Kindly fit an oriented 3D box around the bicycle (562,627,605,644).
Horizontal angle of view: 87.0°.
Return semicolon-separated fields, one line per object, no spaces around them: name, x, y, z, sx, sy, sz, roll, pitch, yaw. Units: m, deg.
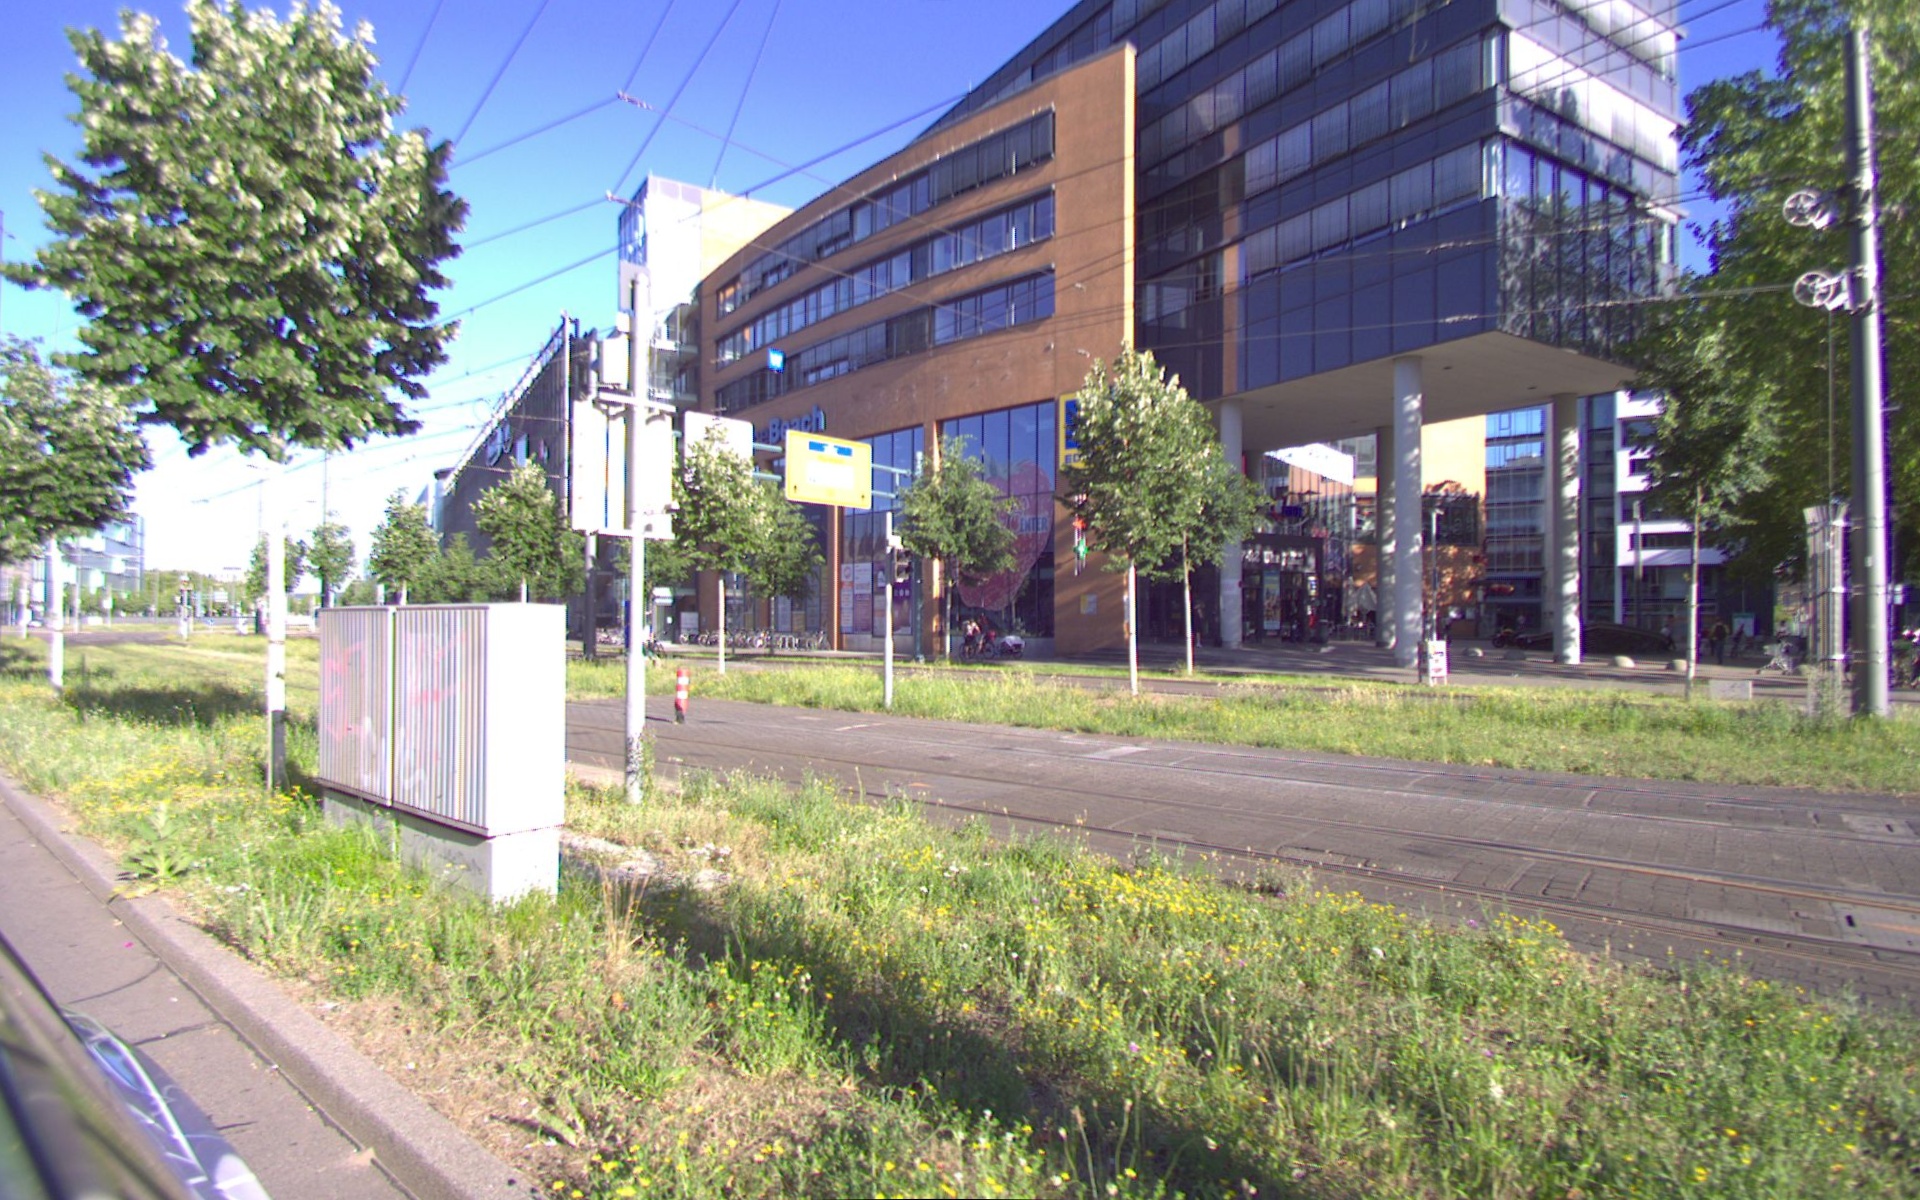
bicycle;-25.590;2.409;68.816;2.648;1.112;0.897;1;-2;-38

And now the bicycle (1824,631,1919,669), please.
bicycle;34.446;1.838;37.631;3.343;1.363;1.026;-1;-2;26

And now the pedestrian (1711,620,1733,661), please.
pedestrian;31.327;1.669;41.596;0.698;1.665;0.697;-1;-1;39

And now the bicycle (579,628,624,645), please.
bicycle;-23.341;2.382;65.928;2.648;1.112;0.897;1;-2;-38

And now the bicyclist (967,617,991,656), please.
bicyclist;0.763;1.448;40.725;0.702;1.541;0.682;-1;-2;40

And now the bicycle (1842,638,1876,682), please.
bicycle;24.652;1.615;27.770;0.598;1.137;2.335;-2;-3;40

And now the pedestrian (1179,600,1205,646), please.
pedestrian;8.761;0.881;38.166;0.698;1.718;0.724;-1;-2;40

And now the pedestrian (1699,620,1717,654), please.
pedestrian;38.575;1.909;52.183;0.698;1.727;0.724;-1;-2;38

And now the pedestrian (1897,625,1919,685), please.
pedestrian;27.432;1.568;28.911;0.705;1.693;0.832;1;-3;-42

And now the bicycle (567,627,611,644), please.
bicycle;-24.977;2.398;68.131;2.648;1.112;0.827;1;-2;-38

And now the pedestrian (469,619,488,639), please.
pedestrian;-40.327;2.441;84.810;1.093;1.694;1.059;-1;-2;35

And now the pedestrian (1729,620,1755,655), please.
pedestrian;37.200;1.788;48.145;0.721;1.635;0.701;0;-1;-18

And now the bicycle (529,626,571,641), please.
bicycle;-29.511;2.412;72.915;2.648;1.112;0.897;1;-2;-38

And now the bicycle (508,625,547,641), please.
bicycle;-33.046;2.534;77.347;2.648;1.198;0.897;1;-2;-38

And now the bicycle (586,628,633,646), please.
bicycle;-22.267;2.372;64.298;2.648;1.112;0.897;1;-2;-38

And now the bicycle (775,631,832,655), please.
bicycle;-7.638;2.087;49.357;2.648;1.112;0.897;1;-2;-38

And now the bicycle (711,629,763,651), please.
bicycle;-12.069;2.162;54.864;2.648;1.112;0.897;1;-2;-38

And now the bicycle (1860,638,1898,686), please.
bicycle;22.888;1.521;25.227;0.598;1.137;2.334;-2;-3;41

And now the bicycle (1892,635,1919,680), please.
bicycle;25.382;1.513;27.014;0.598;1.137;2.335;-2;-3;40

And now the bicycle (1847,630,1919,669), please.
bicycle;33.707;1.752;35.758;3.343;1.363;1.026;-1;-2;26

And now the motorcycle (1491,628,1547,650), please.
motorcycle;28.161;1.930;51.024;0.819;1.066;2.347;1;-2;-40

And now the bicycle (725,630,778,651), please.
bicycle;-11.103;2.151;53.934;2.648;1.112;0.897;1;-2;-38

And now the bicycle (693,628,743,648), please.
bicycle;-13.696;2.167;57.374;2.648;1.112;0.897;1;-2;-38

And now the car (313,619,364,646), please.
car;-36.798;1.893;59.854;1.603;1.539;4.807;1;-2;-44

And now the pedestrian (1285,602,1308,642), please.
pedestrian;14.385;0.936;43.288;0.698;1.718;0.724;-1;-2;40

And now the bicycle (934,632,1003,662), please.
bicycle;0.305;1.784;38.570;2.691;1.112;0.883;-2;-3;42

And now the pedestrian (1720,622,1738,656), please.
pedestrian;39.365;1.993;51.828;0.698;1.727;0.724;-1;-2;38

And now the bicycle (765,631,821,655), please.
bicycle;-8.289;2.120;50.179;2.648;1.112;0.897;1;-2;-38

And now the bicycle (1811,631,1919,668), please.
bicycle;35.091;1.902;38.992;3.343;1.363;1.026;-1;-2;26

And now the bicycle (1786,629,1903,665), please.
bicycle;35.369;1.869;40.561;3.343;1.363;1.026;-1;-2;26

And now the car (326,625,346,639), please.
car;-71.324;3.681;115.757;1.599;1.539;4.369;2;-2;-28

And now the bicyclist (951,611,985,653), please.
bicyclist;0.298;1.232;38.590;0.939;1.560;0.883;-2;-3;42

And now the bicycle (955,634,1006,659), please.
bicycle;0.811;1.859;40.678;2.066;0.957;0.682;-1;-2;41

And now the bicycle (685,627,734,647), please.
bicycle;-14.421;2.134;58.315;2.648;1.112;0.897;1;-2;-38
